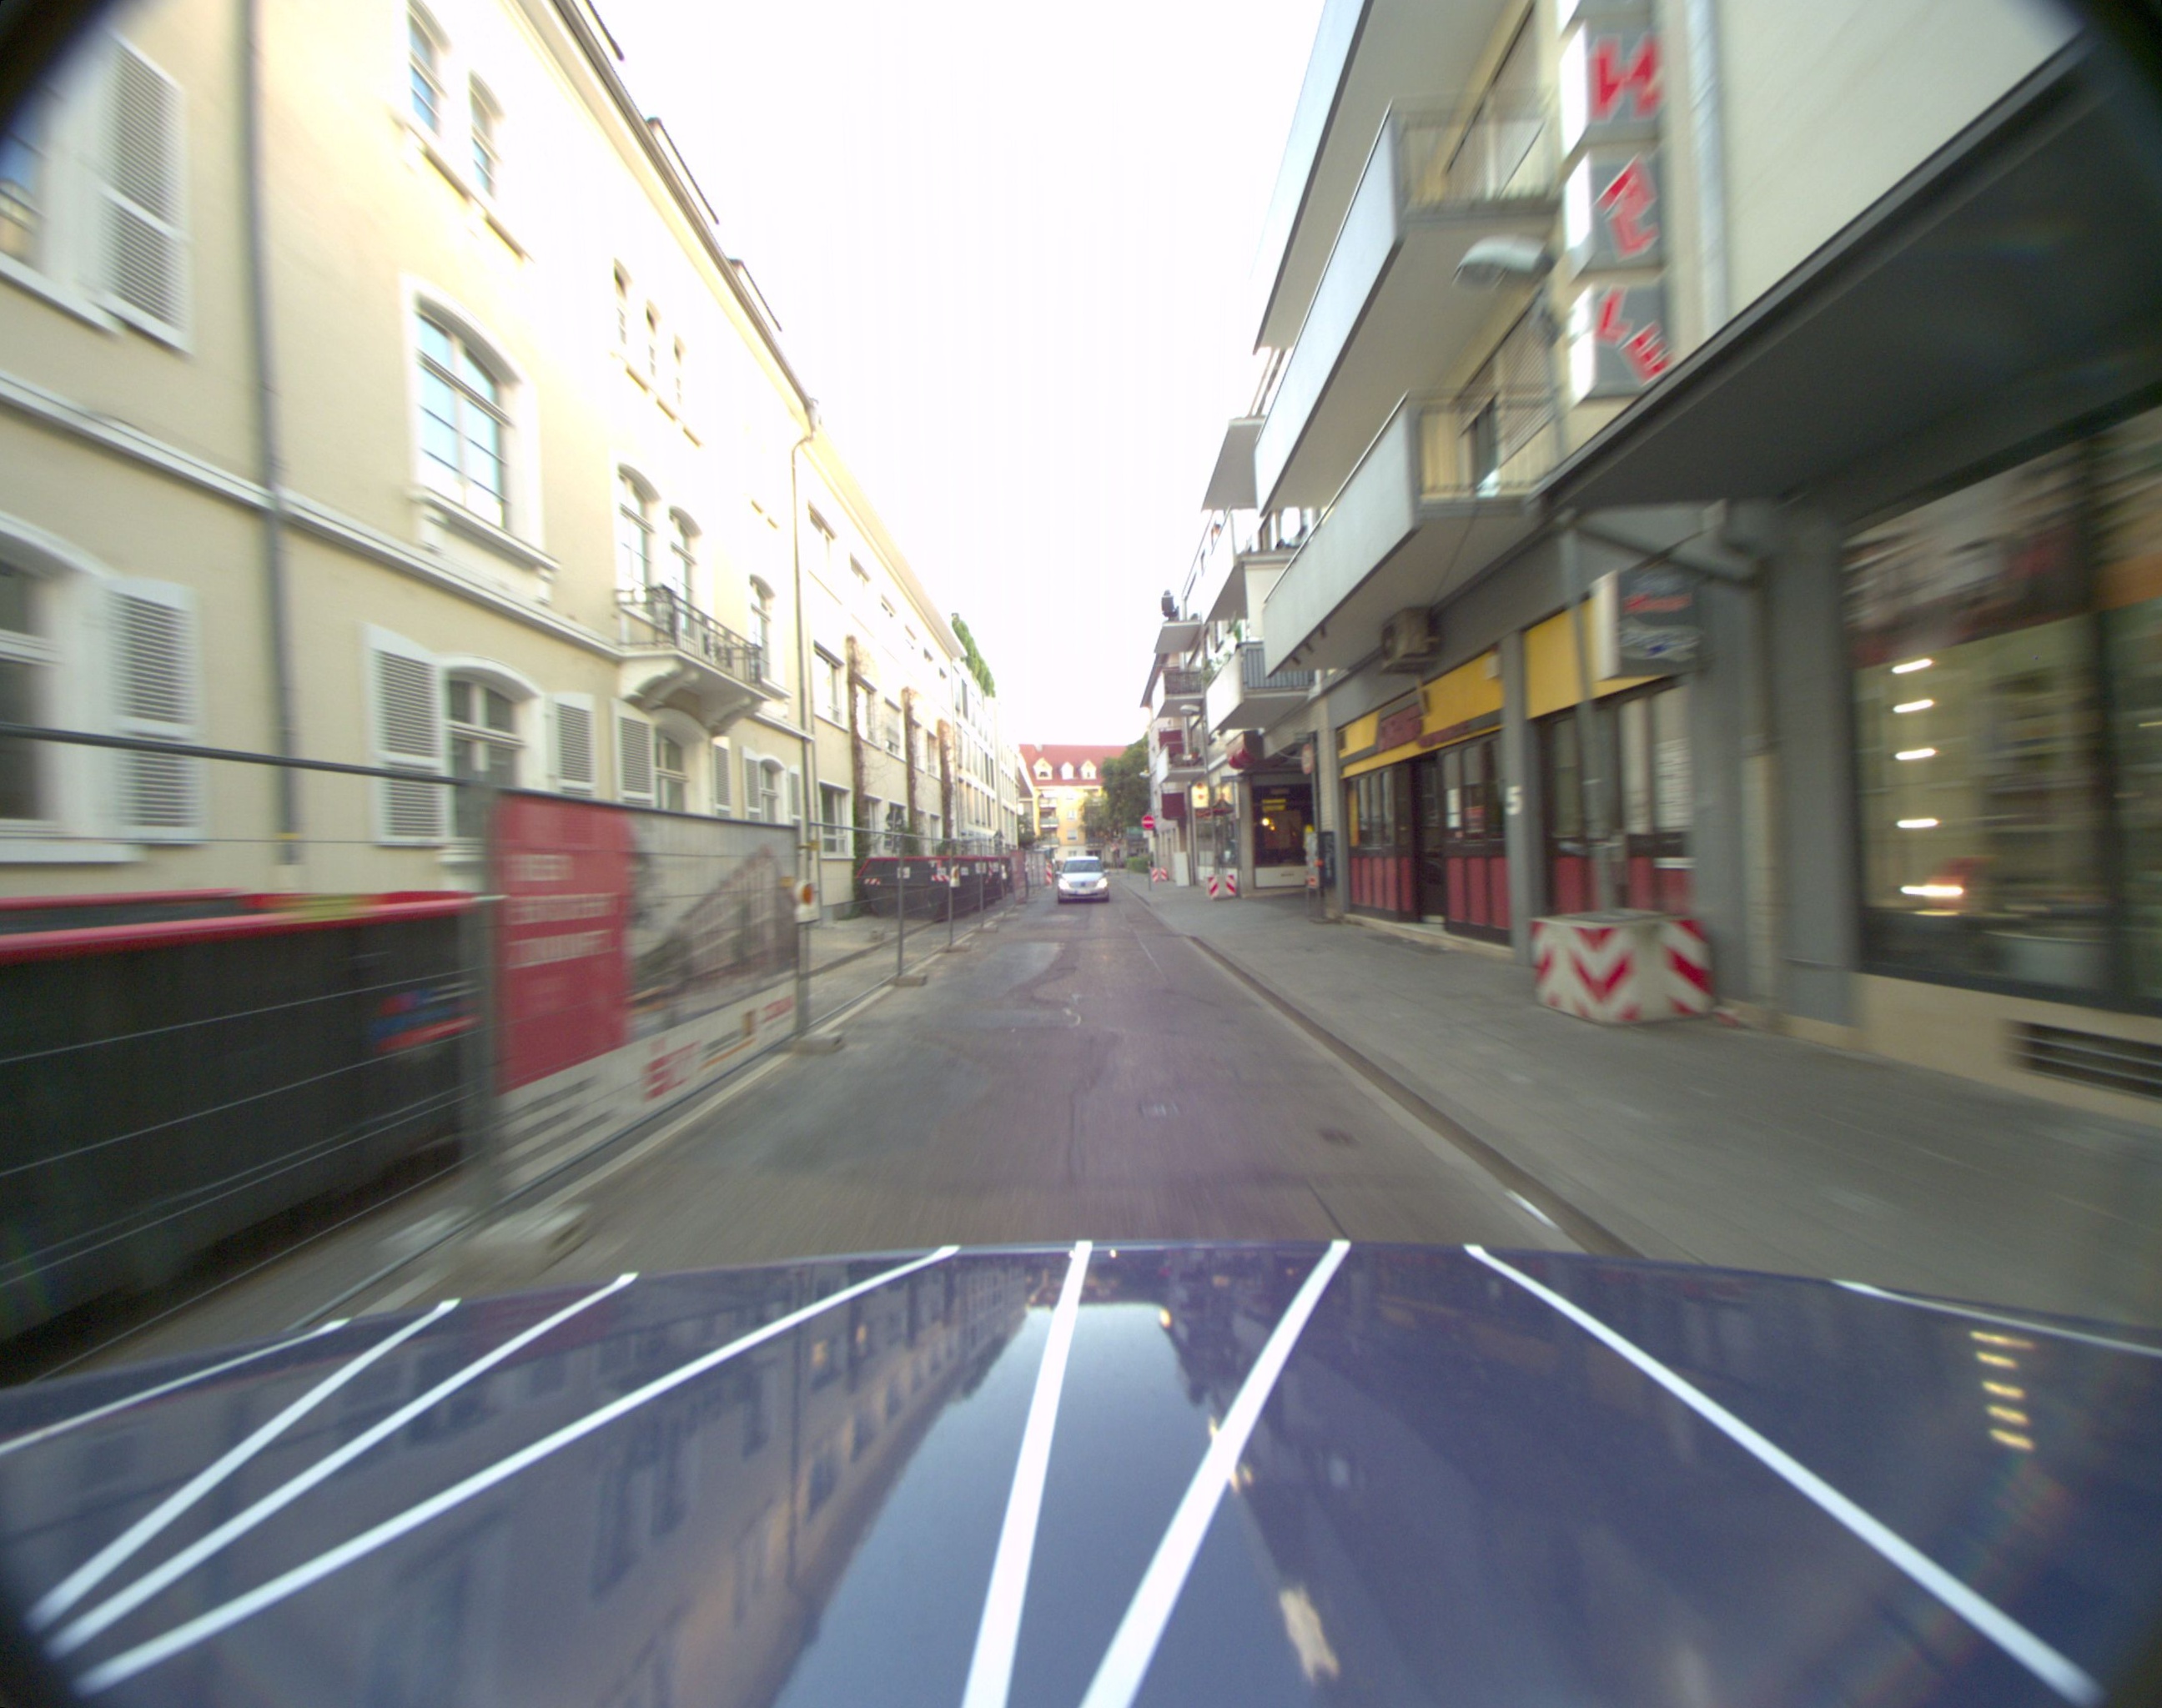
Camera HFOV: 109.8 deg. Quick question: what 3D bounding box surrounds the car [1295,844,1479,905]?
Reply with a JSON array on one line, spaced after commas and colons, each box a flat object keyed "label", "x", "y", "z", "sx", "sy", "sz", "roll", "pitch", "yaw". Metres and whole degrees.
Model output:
[{"label": "car", "x": 8.493, "y": 0.544, "z": 21.376, "sx": 4.326, "sy": 1.413, "sz": 2.020, "roll": -3, "pitch": 0, "yaw": -1}]

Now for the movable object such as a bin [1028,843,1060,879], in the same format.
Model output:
[{"label": "movable object such as a bin", "x": -2.914, "y": 0.551, "z": 60.959, "sx": 2.021, "sy": 2.607, "sz": 5.751, "roll": -5, "pitch": -1, "yaw": 1}]

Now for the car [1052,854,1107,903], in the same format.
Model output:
[{"label": "car", "x": -0.013, "y": 0.857, "z": 27.603, "sx": 1.804, "sy": 1.607, "sz": 4.273, "roll": -2, "pitch": -1, "yaw": 1}]

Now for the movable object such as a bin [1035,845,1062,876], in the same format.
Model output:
[{"label": "movable object such as a bin", "x": -2.974, "y": 0.570, "z": 70.854, "sx": 2.021, "sy": 2.608, "sz": 5.751, "roll": -5, "pitch": 0, "yaw": 1}]

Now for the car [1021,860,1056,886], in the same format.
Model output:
[{"label": "car", "x": -2.673, "y": 1.172, "z": 48.726, "sx": 1.791, "sy": 1.463, "sz": 4.446, "roll": -5, "pitch": 0, "yaw": 0}]

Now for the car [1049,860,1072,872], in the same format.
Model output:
[{"label": "car", "x": -2.835, "y": 1.628, "z": 102.838, "sx": 1.749, "sy": 1.395, "sz": 4.238, "roll": -2, "pitch": 2, "yaw": -22}]

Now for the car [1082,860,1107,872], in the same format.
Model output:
[{"label": "car", "x": 1.835, "y": 1.587, "z": 104.780, "sx": 1.829, "sy": 1.460, "sz": 4.320, "roll": -2, "pitch": 2, "yaw": -22}]

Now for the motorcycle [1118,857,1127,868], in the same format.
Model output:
[{"label": "motorcycle", "x": 5.151, "y": 1.012, "z": 93.621, "sx": 0.858, "sy": 1.345, "sz": 1.960, "roll": -2, "pitch": 0, "yaw": 10}]

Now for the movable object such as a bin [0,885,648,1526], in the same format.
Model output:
[{"label": "movable object such as a bin", "x": -4.371, "y": 1.102, "z": 1.440, "sx": 2.743, "sy": 1.629, "sz": 7.552, "roll": -3, "pitch": 0, "yaw": 0}]
